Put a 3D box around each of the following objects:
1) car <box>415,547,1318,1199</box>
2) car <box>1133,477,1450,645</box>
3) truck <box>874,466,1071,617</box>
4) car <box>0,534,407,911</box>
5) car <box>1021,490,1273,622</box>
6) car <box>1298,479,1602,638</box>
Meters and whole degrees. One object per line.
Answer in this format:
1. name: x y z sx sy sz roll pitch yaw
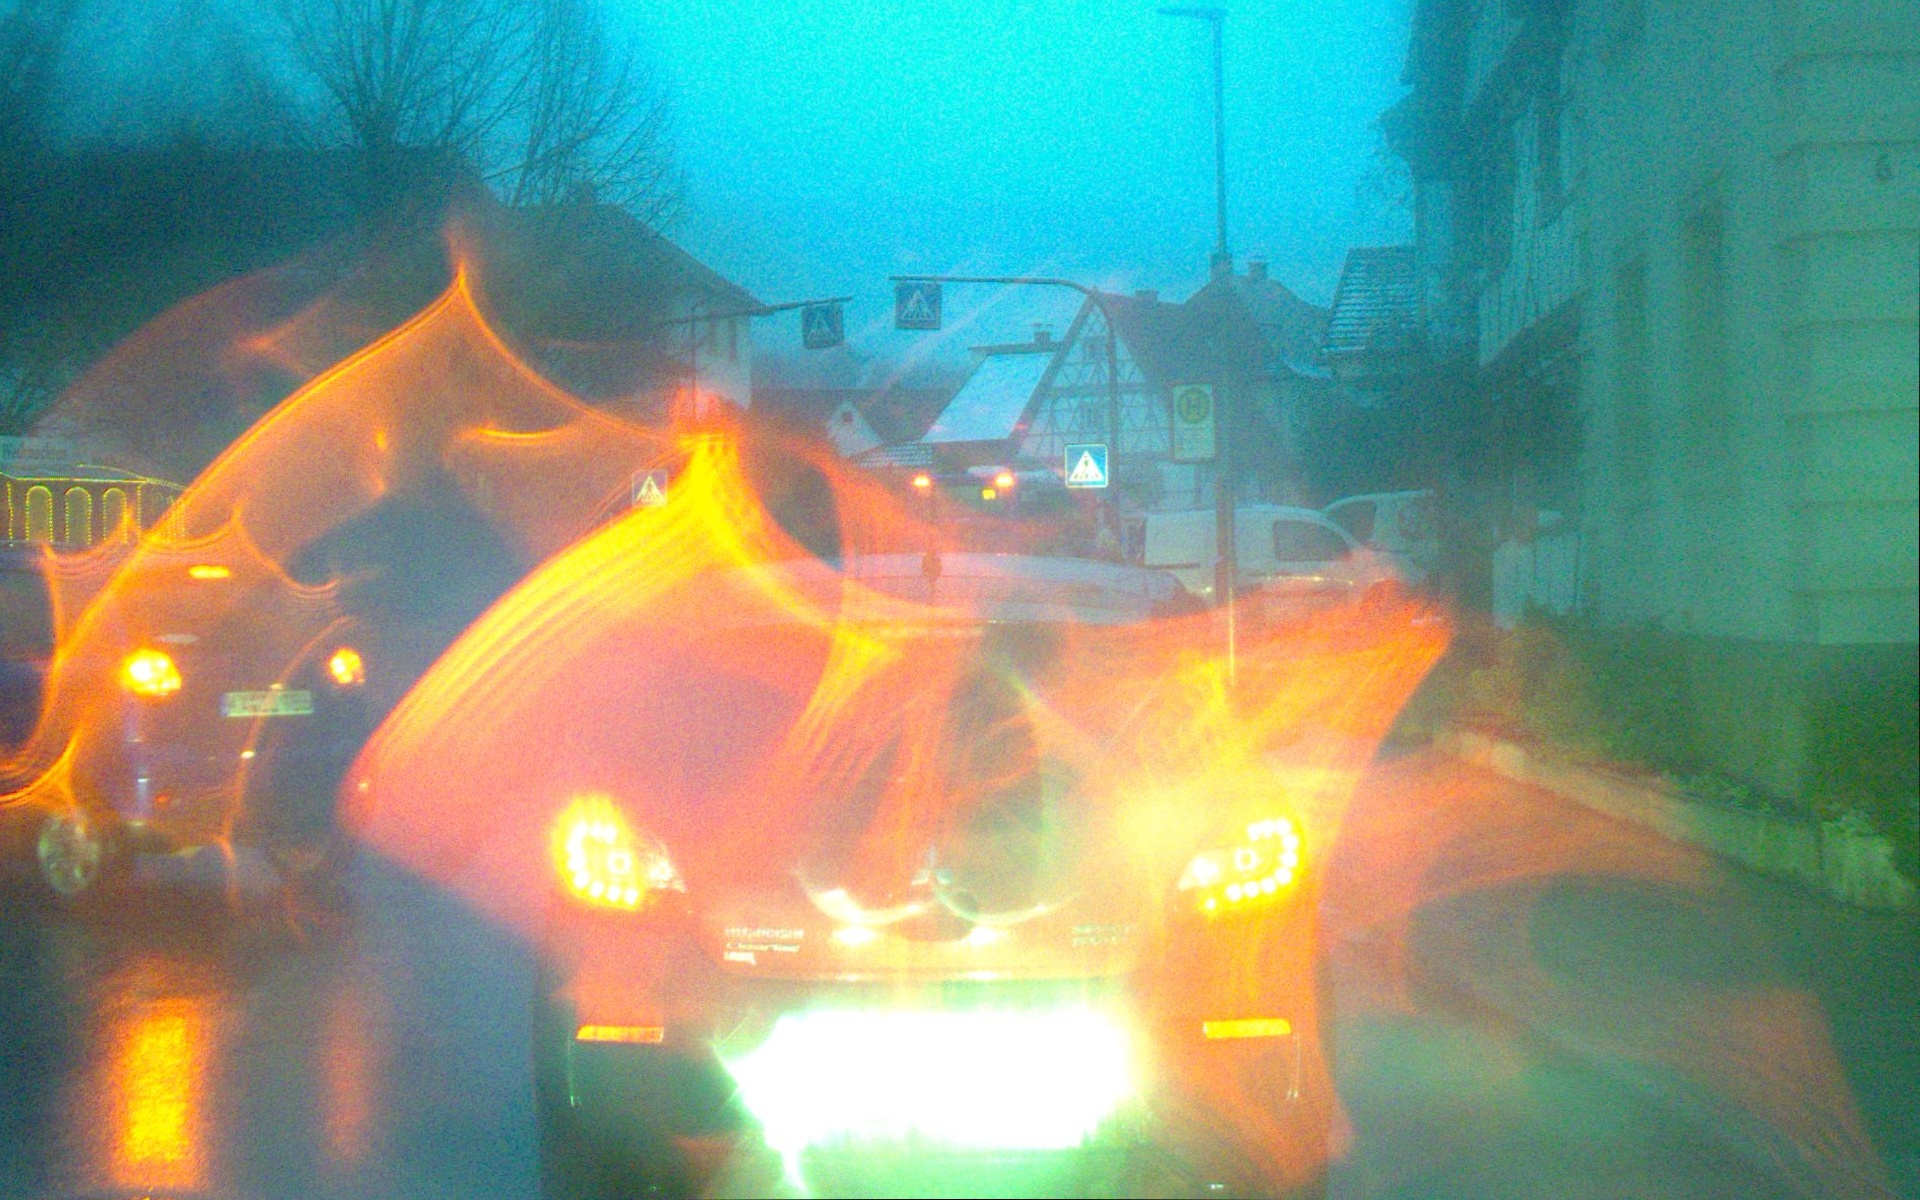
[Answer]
1. car: -0.186 0.623 7.934 1.638 1.476 3.379 0 1 0
2. car: 4.415 -0.523 45.679 4.098 2.155 1.913 0 1 7
3. truck: 0.383 -1.281 74.971 3.016 3.118 7.997 0 1 10
4. car: -4.200 0.451 15.144 3.267 1.476 1.640 1 1 35
5. car: 3.167 -0.745 57.762 4.098 2.144 1.913 0 1 7
6. car: 6.806 -0.583 47.978 4.098 2.144 1.913 0 1 7
